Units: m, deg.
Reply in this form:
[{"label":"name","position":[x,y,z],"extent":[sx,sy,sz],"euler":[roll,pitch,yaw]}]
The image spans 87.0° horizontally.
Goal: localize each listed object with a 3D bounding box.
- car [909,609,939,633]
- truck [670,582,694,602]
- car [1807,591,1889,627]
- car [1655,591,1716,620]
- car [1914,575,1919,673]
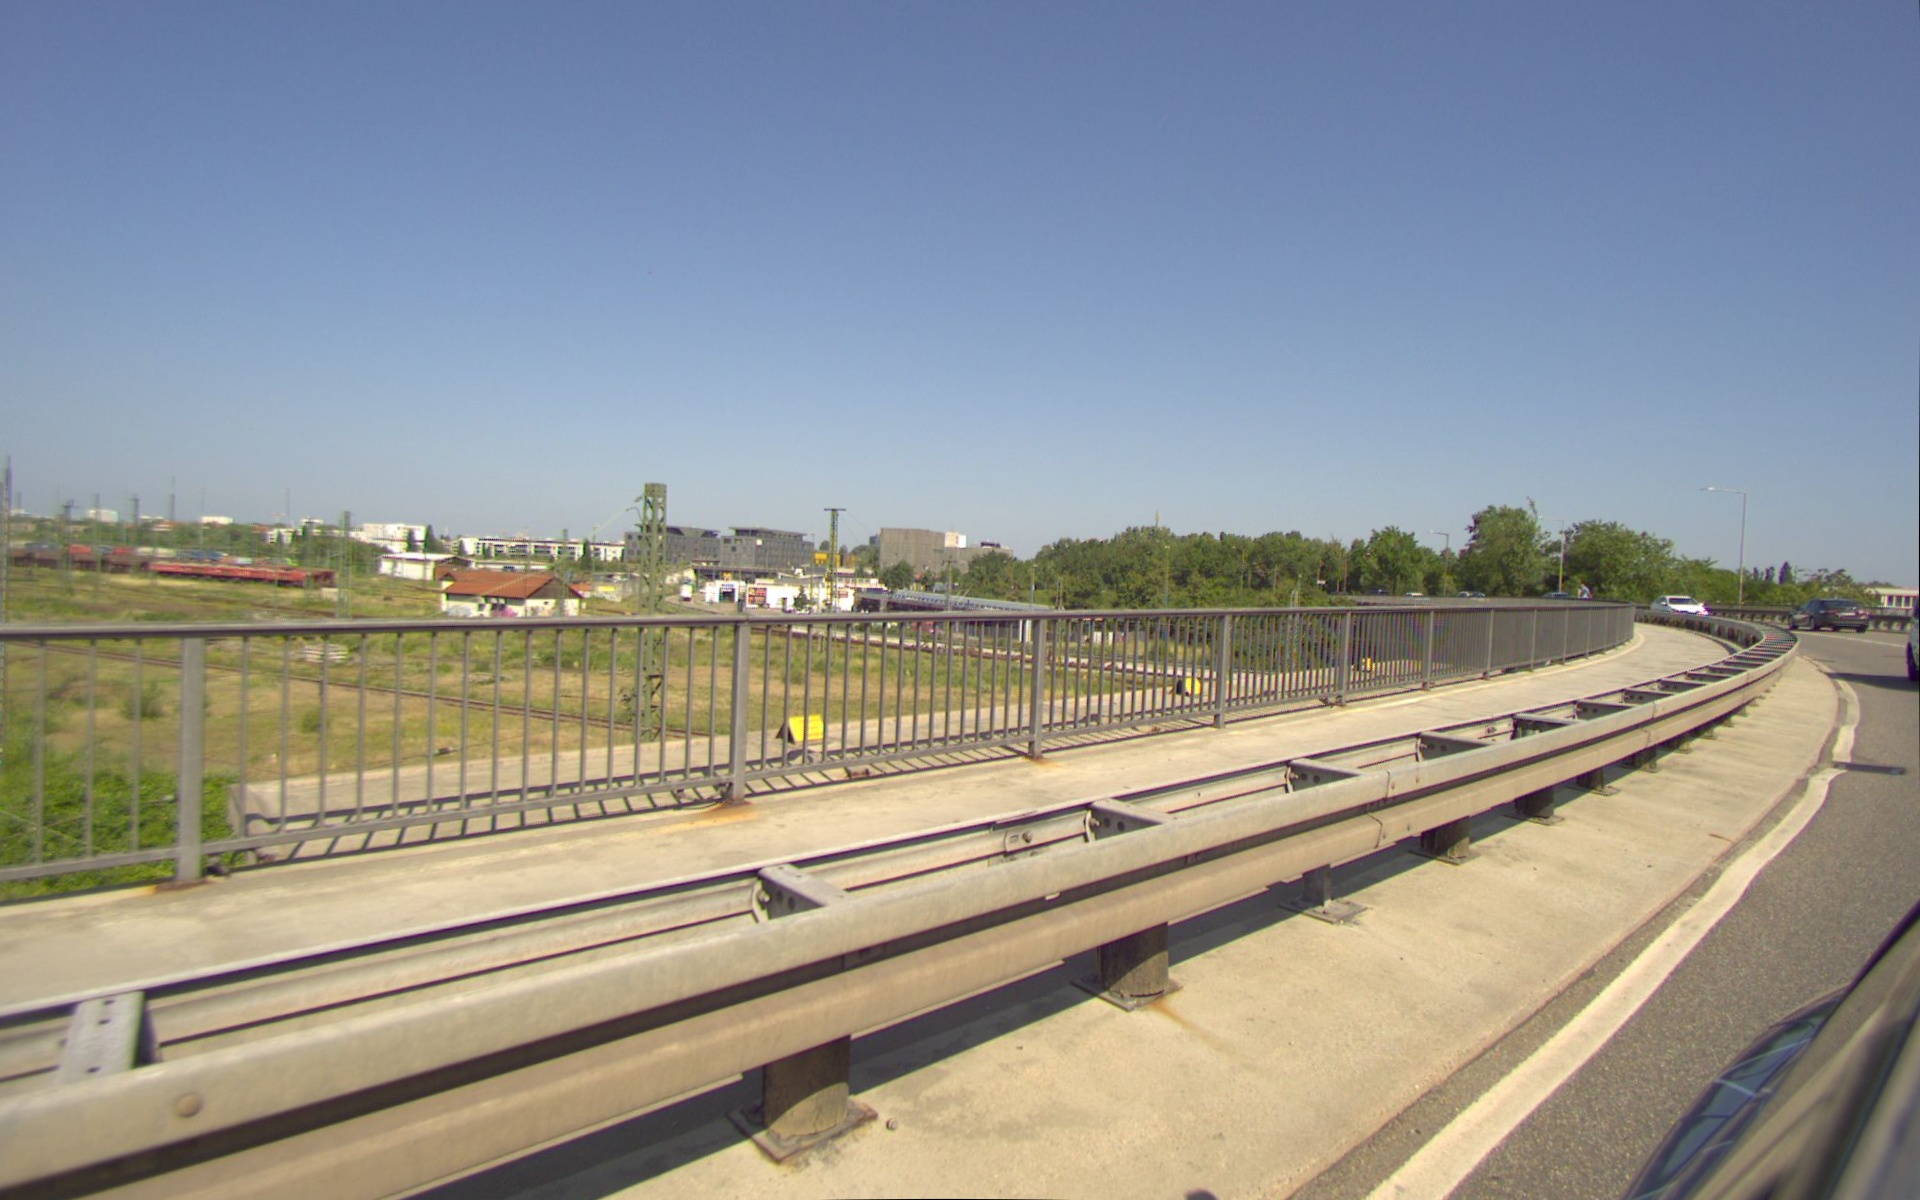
[{"label":"car","position":[-5.027,2.873,140.729],"extent":[2.261,2.694,5.390],"euler":[-4,5,-24]},{"label":"truck","position":[-64.640,-1.925,234.966],"extent":[3.742,4.080,13.300],"euler":[3,0,-21]},{"label":"car","position":[39.111,0.365,44.712],"extent":[1.809,1.448,4.811],"euler":[1,1,30]},{"label":"car","position":[39.477,0.268,55.149],"extent":[1.827,1.507,4.119],"euler":[0,0,23]},{"label":"car","position":[17.709,0.470,17.018],"extent":[1.888,1.818,4.389],"euler":[1,1,37]}]
